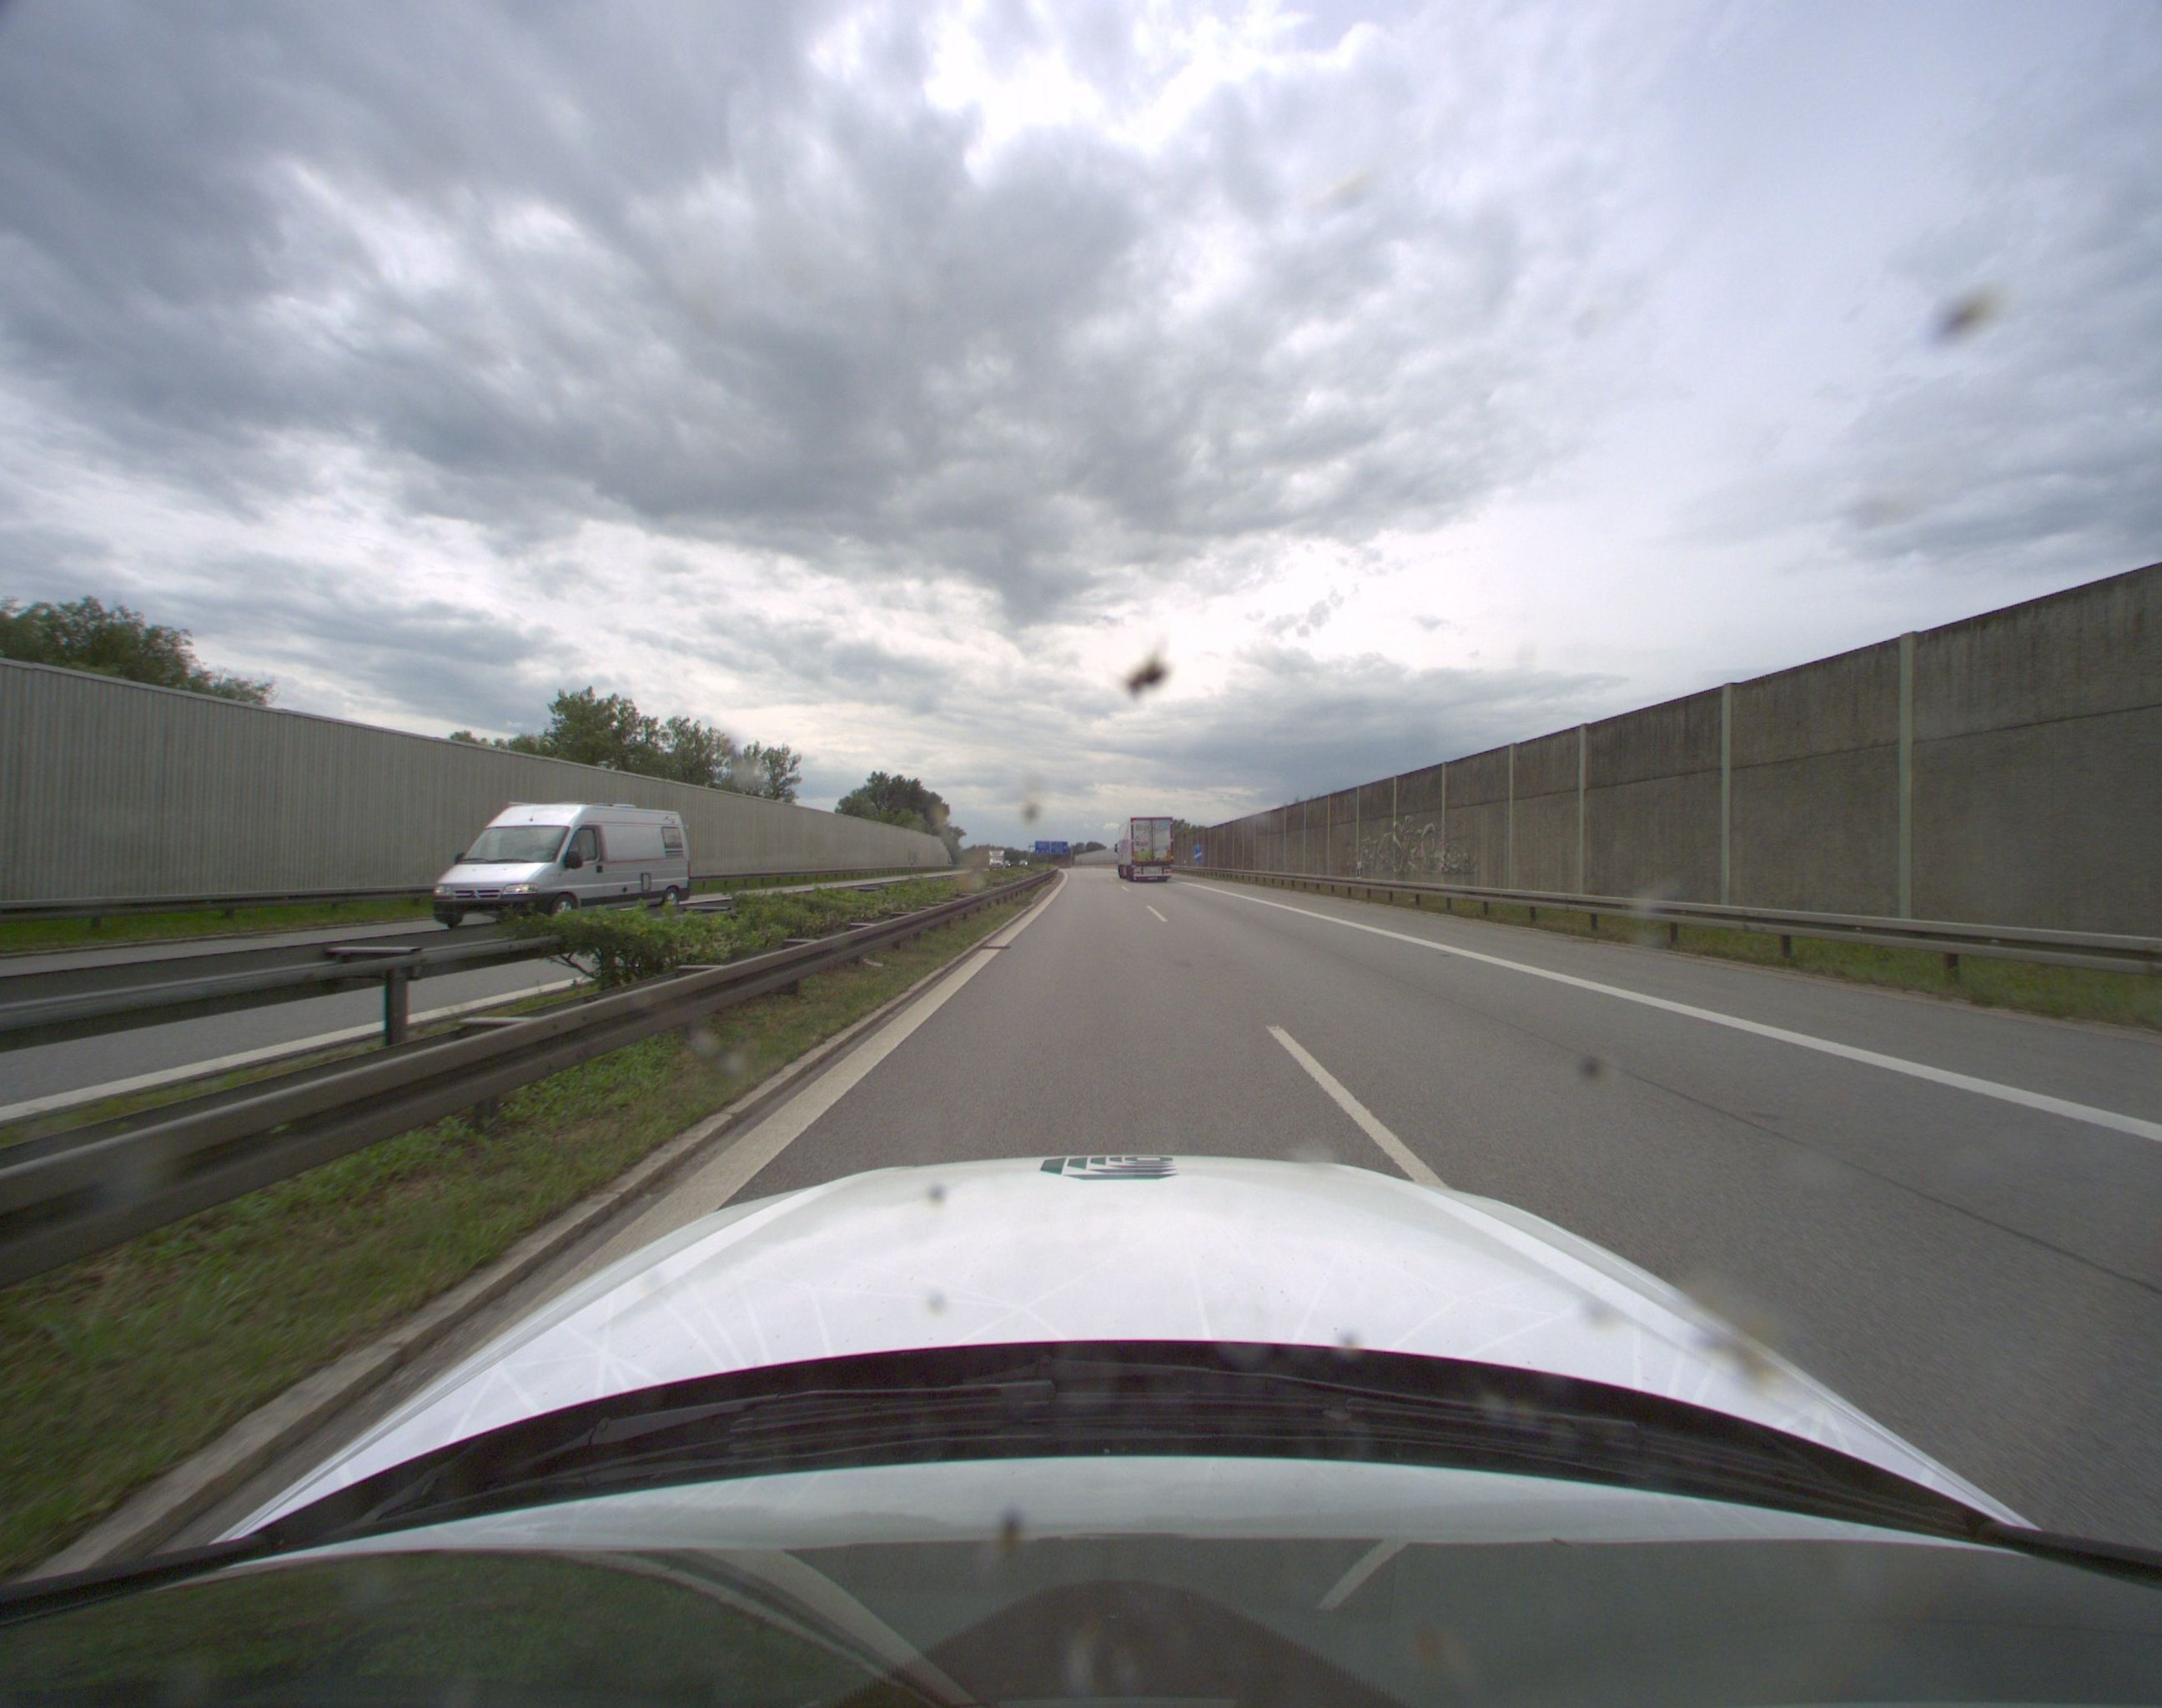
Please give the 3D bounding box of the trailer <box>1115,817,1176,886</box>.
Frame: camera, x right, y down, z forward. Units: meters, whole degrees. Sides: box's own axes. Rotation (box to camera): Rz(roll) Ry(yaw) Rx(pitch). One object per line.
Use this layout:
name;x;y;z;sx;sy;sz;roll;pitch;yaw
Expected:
trailer;4.226;-0.050;56.607;2.784;4.175;14.095;-1;-1;-1

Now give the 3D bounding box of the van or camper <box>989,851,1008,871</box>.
van or camper;-11.665;1.043;115.148;2.248;2.779;5.752;0;-1;-1

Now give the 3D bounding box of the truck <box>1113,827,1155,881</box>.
truck;4.046;0.018;63.290;2.748;3.960;5.673;-1;-1;-1

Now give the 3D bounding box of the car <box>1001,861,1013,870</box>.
car;-13.060;1.934;143.659;1.807;1.547;4.512;0;-1;-2

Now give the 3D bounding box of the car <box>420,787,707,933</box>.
car;-10.165;0.110;16.765;2.103;2.455;5.685;-1;0;2

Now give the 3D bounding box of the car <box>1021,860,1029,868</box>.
car;-14.318;2.537;208.186;1.989;1.886;4.550;0;0;-3
